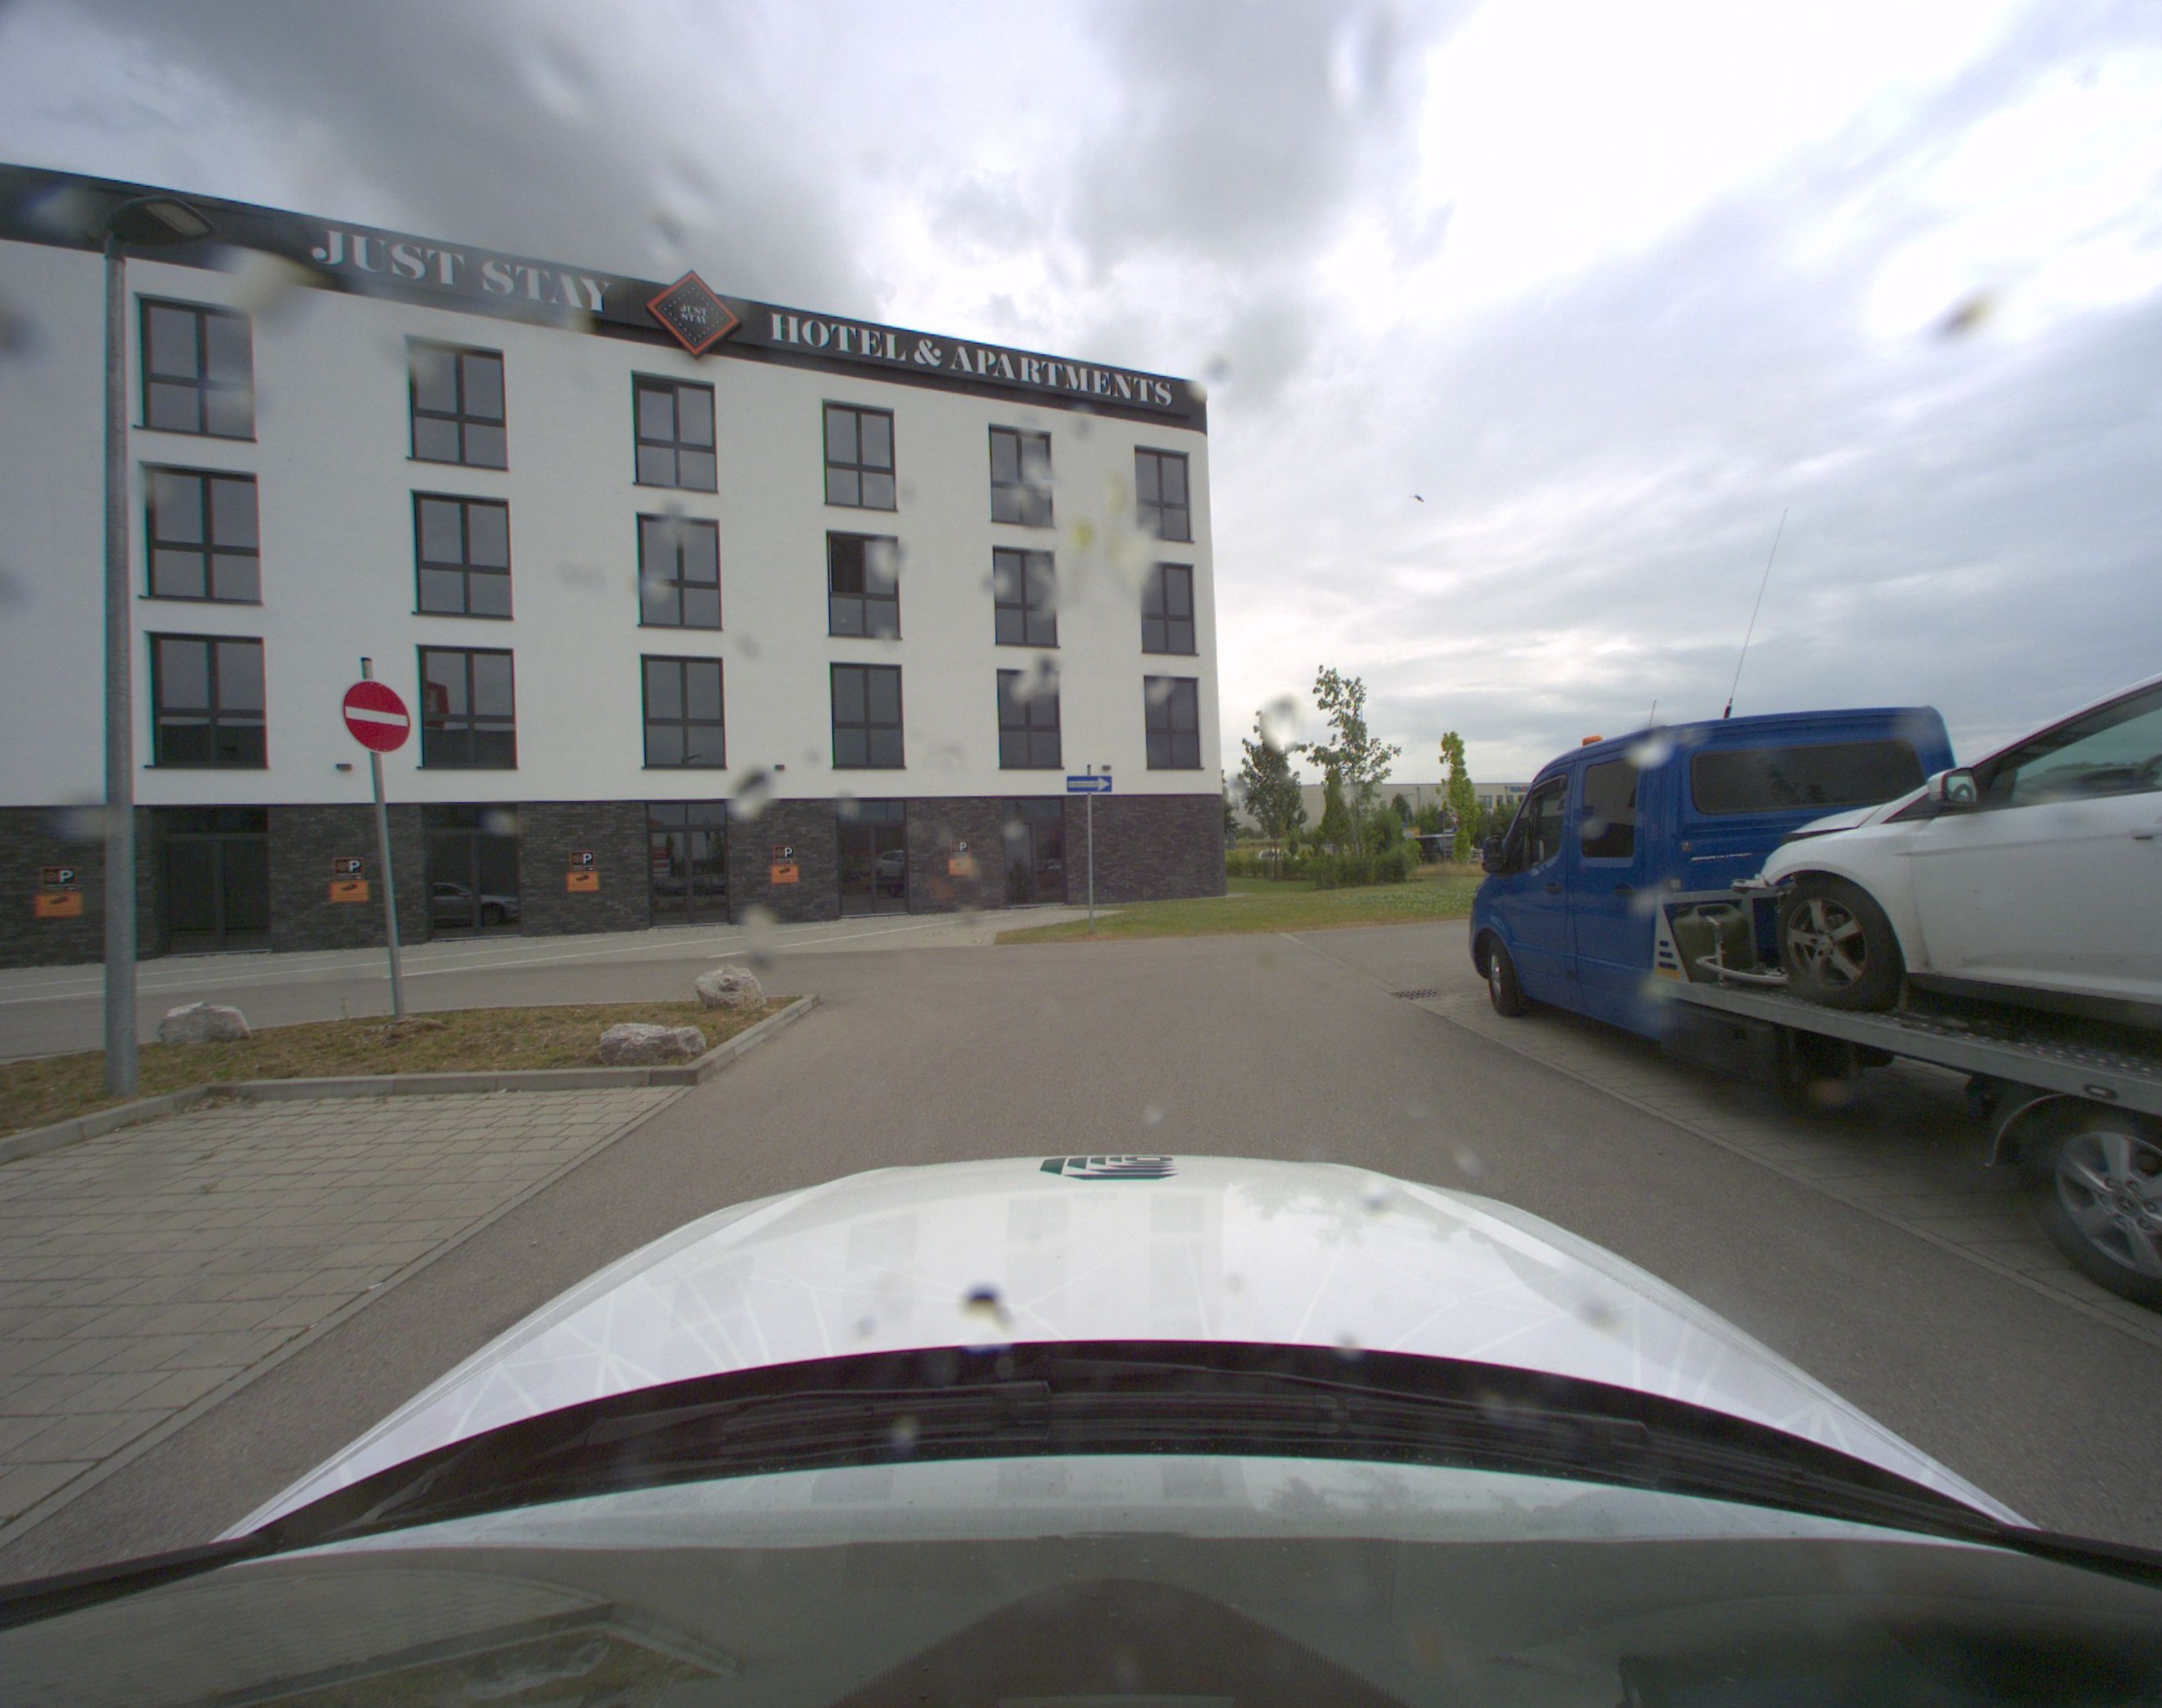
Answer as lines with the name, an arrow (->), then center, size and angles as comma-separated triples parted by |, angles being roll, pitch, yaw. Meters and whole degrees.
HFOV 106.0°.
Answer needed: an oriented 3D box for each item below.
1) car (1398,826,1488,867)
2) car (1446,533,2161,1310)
car -> 18.589, -0.405, 42.080 | 1.992, 1.923, 4.836 | -3, 1, -7
car -> 4.444, 0.172, 4.076 | 2.184, 2.322, 7.867 | -2, 0, 4
